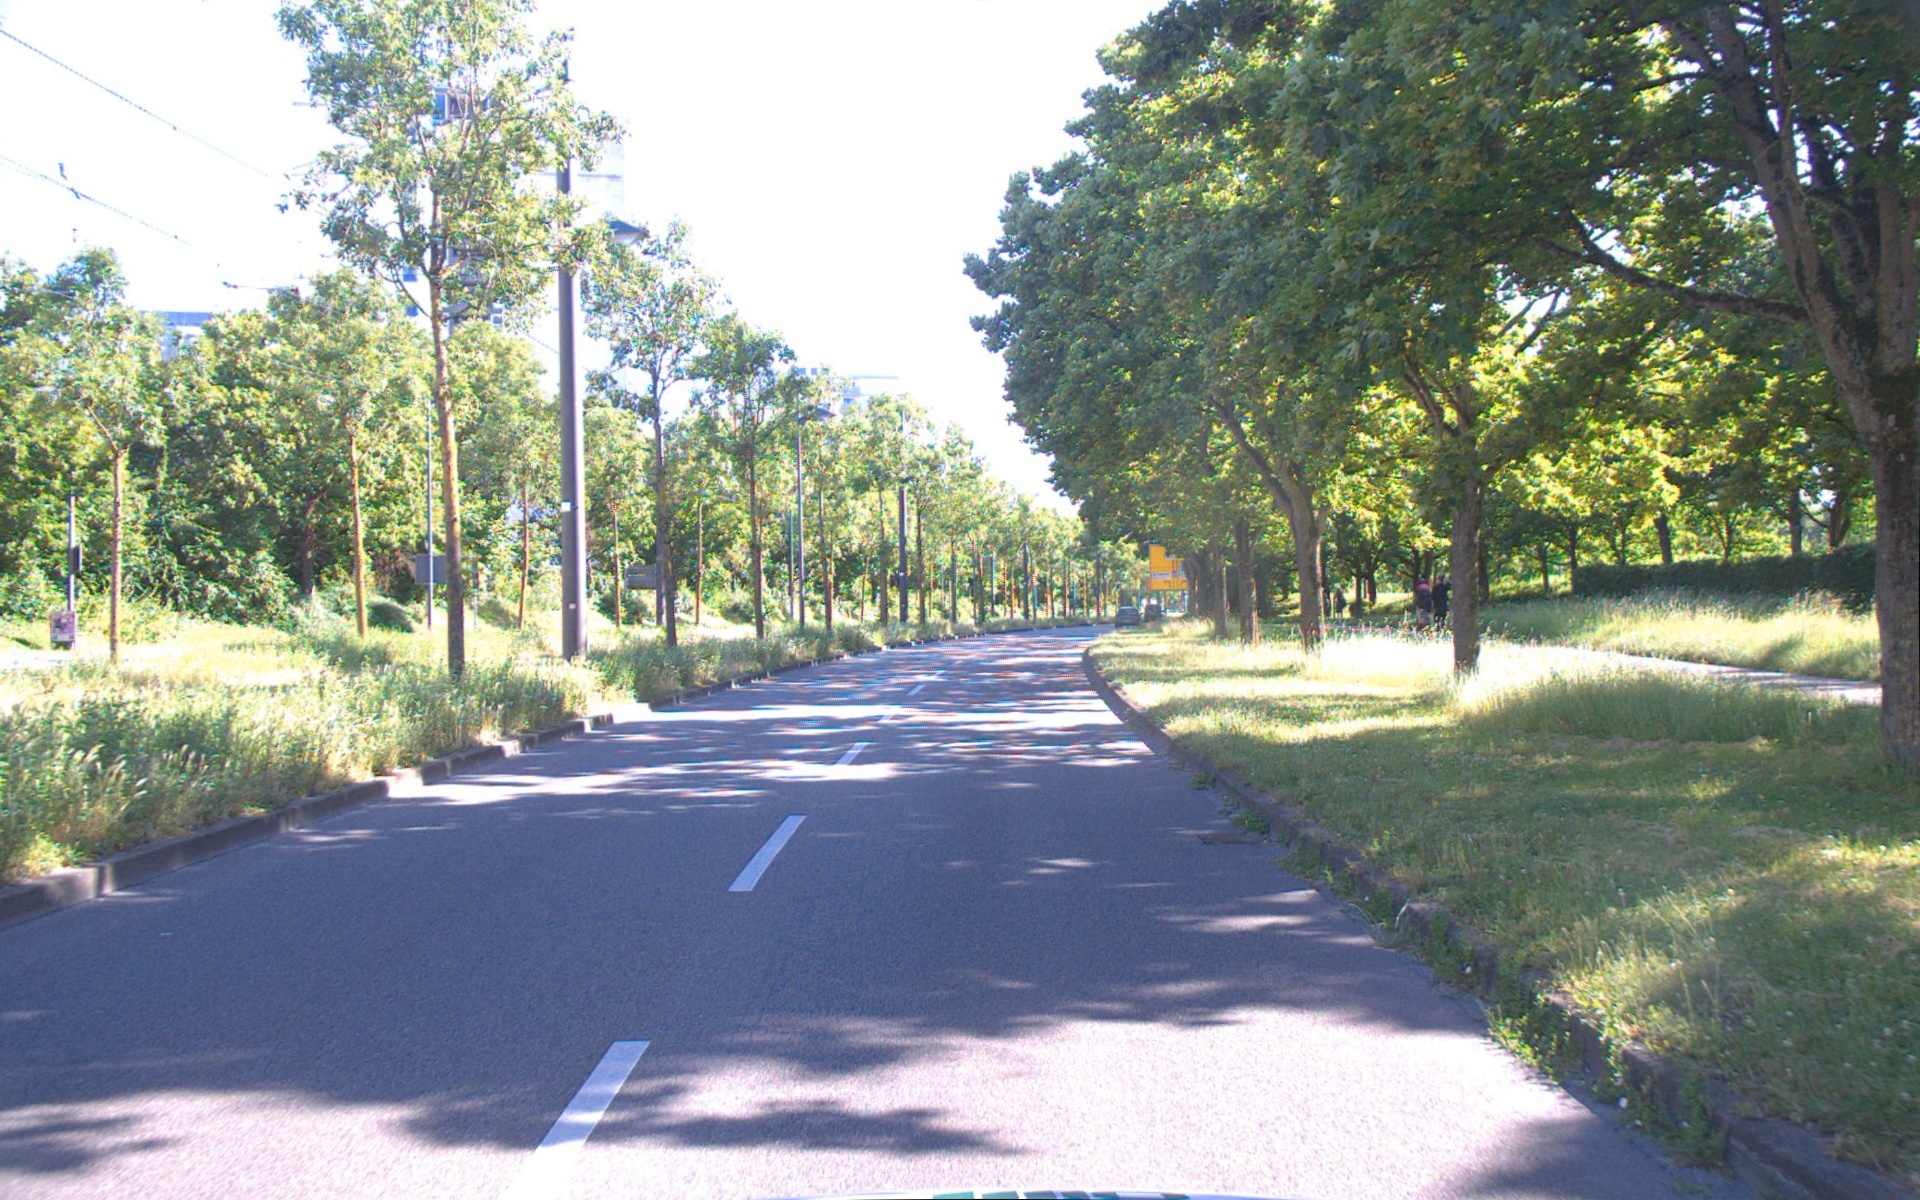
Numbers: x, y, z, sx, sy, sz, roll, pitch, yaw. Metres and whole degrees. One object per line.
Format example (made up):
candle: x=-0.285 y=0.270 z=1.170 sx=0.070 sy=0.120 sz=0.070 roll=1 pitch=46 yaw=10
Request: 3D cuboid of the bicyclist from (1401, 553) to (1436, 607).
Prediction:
bicyclist: x=12.820 y=-0.564 z=46.270 sx=0.773 sy=1.476 sz=0.845 roll=-1 pitch=-1 yaw=6

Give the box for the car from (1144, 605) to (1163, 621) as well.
car: x=19.169 y=1.282 z=163.873 sx=1.599 sy=1.524 sz=4.238 roll=0 pitch=0 yaw=11

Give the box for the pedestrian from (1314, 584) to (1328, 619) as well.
pedestrian: x=17.173 y=0.079 z=78.665 sx=0.535 sy=1.650 sz=0.844 roll=-2 pitch=-1 yaw=18

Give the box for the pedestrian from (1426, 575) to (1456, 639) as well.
pedestrian: x=14.037 y=0.210 z=48.288 sx=0.700 sy=1.835 sz=0.794 roll=-1 pitch=0 yaw=6

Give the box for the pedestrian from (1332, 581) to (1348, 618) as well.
pedestrian: x=17.974 y=-0.003 z=78.218 sx=0.623 sy=1.721 sz=0.844 roll=-2 pitch=-1 yaw=18

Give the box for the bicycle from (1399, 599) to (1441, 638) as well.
bicycle: x=12.849 y=0.510 z=46.295 sx=0.777 sy=1.065 sz=2.144 roll=-1 pitch=-1 yaw=6

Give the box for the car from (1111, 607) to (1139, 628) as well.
car: x=11.871 y=1.245 z=118.718 sx=1.599 sy=1.524 sz=4.238 roll=0 pitch=0 yaw=11
